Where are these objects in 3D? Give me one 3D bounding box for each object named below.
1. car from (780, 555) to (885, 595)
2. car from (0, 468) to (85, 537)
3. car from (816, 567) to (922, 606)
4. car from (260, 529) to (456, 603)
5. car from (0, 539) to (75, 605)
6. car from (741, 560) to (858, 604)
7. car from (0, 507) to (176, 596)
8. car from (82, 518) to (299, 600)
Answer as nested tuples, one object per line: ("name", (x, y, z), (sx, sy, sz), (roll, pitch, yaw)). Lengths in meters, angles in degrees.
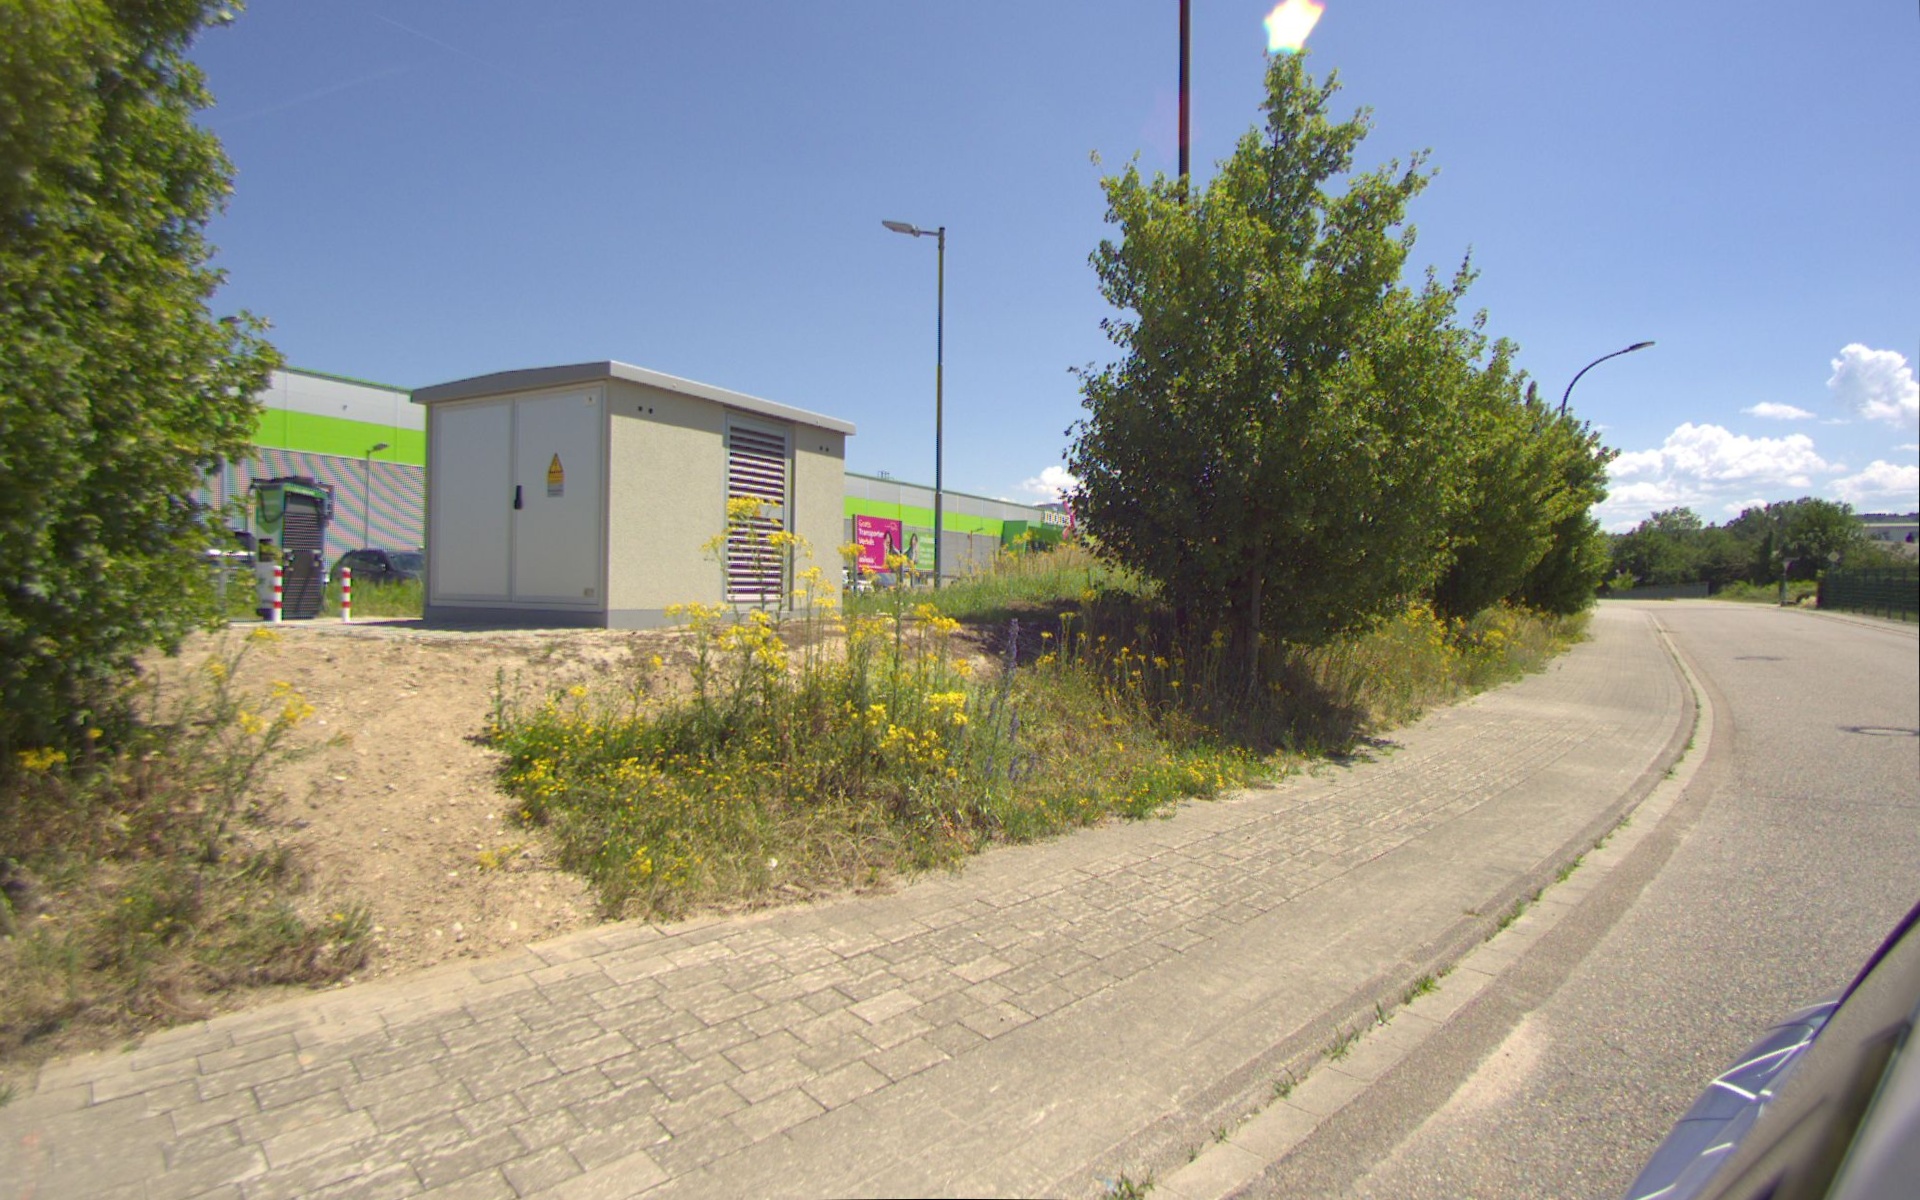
("car", (-5.011, -0.954, 39.685), (3.718, 1.462, 1.921), (0, 0, 32))
("car", (-28.342, -2.856, 30.373), (3.966, 1.871, 1.980), (2, 2, 30))
("car", (-3.707, -0.590, 41.368), (3.960, 1.440, 1.820), (3, 3, 26))
("car", (-13.142, -0.769, 22.065), (3.960, 1.440, 1.820), (3, 3, 26))
("car", (-24.279, -0.749, 25.345), (3.960, 1.548, 1.820), (3, 3, 26))
("car", (-5.935, -0.709, 37.460), (3.960, 1.440, 1.820), (3, 3, 26))
("car", (-16.078, -0.892, 18.008), (3.960, 1.440, 1.820), (3, 3, 26))
("car", (-15.104, -0.835, 19.854), (3.960, 1.440, 1.820), (3, 3, 26))
